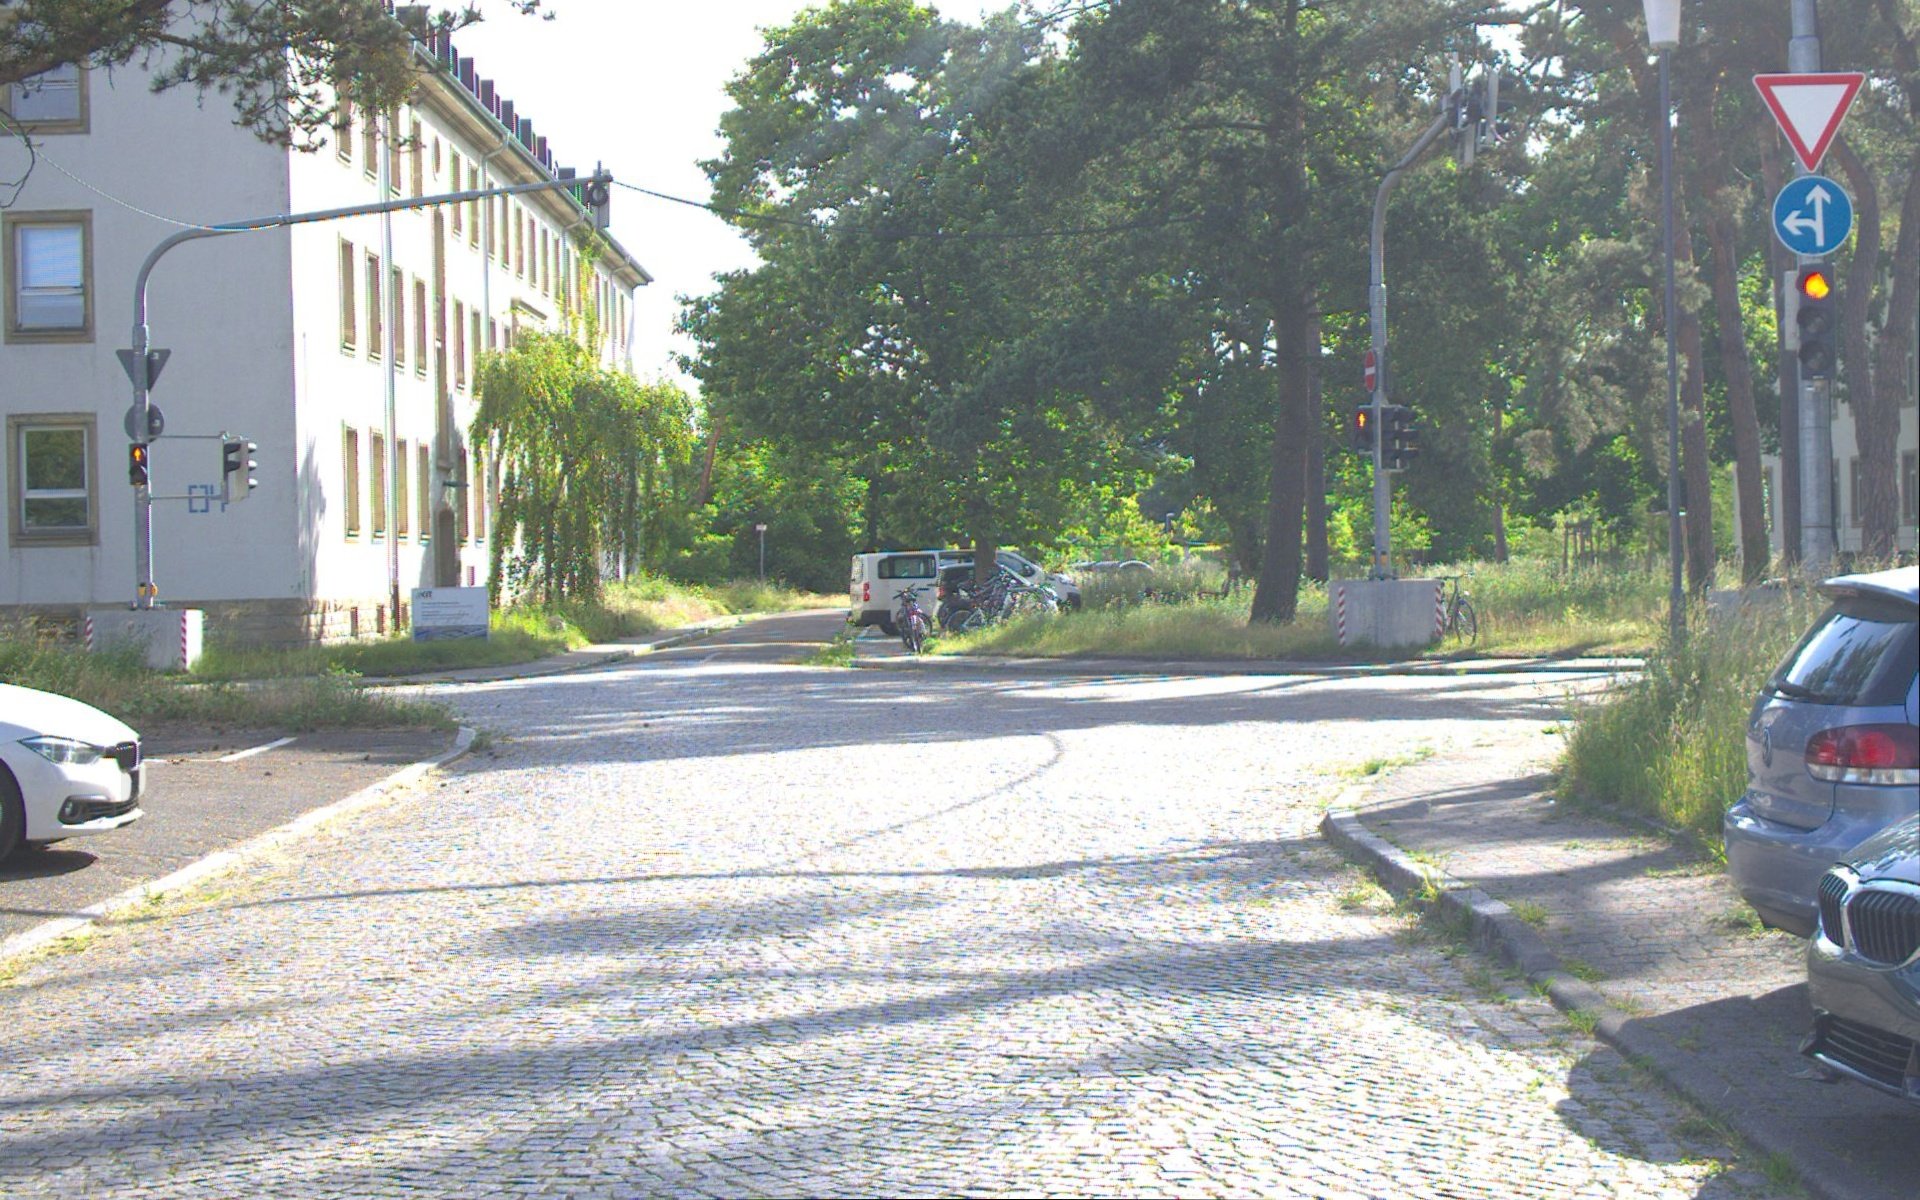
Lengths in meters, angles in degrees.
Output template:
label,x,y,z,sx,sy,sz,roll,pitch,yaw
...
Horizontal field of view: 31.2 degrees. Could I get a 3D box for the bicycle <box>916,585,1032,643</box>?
label,x,y,z,sx,sy,sz,roll,pitch,yaw
bicycle,0.255,0.259,62.729,2.027,1.007,0.627,1,0,-7

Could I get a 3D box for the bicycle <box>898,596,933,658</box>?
label,x,y,z,sx,sy,sz,roll,pitch,yaw
bicycle,-0.743,0.442,56.715,0.467,1.007,1.586,1,0,-4

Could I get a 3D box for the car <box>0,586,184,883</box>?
label,x,y,z,sx,sy,sz,roll,pitch,yaw
car,-6.485,0.647,18.294,4.333,1.463,1.831,1,1,-3

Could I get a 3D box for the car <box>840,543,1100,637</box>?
label,x,y,z,sx,sy,sz,roll,pitch,yaw
car,0.217,-0.221,78.177,5.520,2.007,2.001,1,0,-18

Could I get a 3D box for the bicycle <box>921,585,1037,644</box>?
label,x,y,z,sx,sy,sz,roll,pitch,yaw
bicycle,0.336,0.262,61.847,2.004,1.007,0.632,1,0,-7

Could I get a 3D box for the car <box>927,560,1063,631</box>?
label,x,y,z,sx,sy,sz,roll,pitch,yaw
car,0.739,-0.095,74.606,2.781,1.462,1.671,1,0,-4

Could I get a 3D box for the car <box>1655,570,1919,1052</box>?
label,x,y,z,sx,sy,sz,roll,pitch,yaw
car,4.405,0.571,11.251,3.882,1.410,1.637,-2,1,1

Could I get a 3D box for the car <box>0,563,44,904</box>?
label,x,y,z,sx,sy,sz,roll,pitch,yaw
car,-6.520,0.595,15.923,4.080,1.588,1.886,1,1,-3

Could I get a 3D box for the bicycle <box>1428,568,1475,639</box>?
label,x,y,z,sx,sy,sz,roll,pitch,yaw
bicycle,6.861,0.046,48.015,0.300,0.957,1.586,1,0,-4

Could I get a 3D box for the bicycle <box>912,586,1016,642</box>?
label,x,y,z,sx,sy,sz,roll,pitch,yaw
bicycle,0.071,0.254,63.603,1.837,1.007,0.636,1,0,-7

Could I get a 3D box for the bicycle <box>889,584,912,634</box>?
label,x,y,z,sx,sy,sz,roll,pitch,yaw
bicycle,-1.201,0.183,69.792,0.417,1.007,1.483,1,0,0

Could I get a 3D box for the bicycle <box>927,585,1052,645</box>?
label,x,y,z,sx,sy,sz,roll,pitch,yaw
bicycle,0.516,0.267,60.133,2.109,1.007,0.621,1,0,-7

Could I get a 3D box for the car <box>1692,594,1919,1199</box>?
label,x,y,z,sx,sy,sz,roll,pitch,yaw
car,4.282,0.635,8.472,4.559,1.410,1.637,-2,1,1
